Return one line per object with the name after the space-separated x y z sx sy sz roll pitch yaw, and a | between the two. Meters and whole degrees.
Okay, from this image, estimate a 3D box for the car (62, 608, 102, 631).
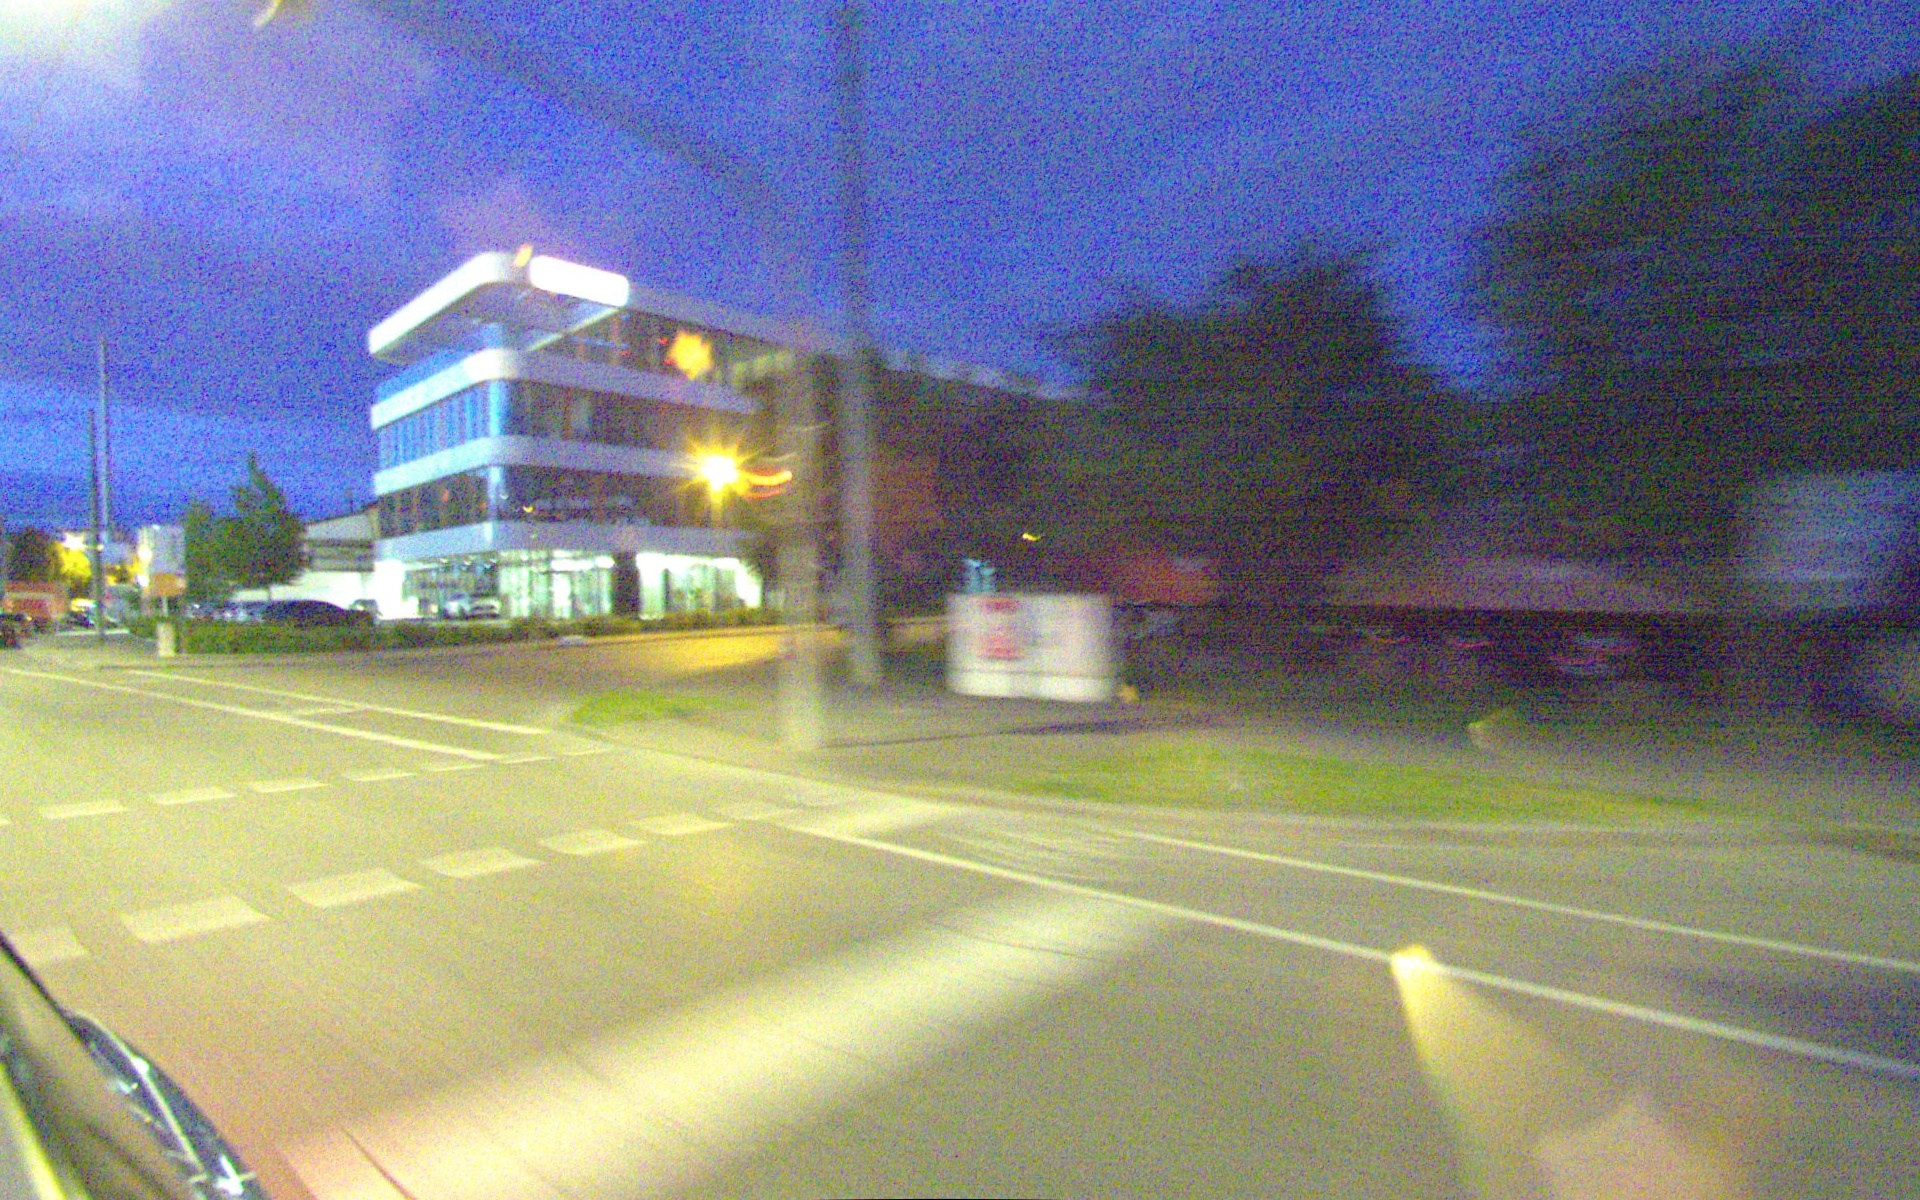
-106.196 2.366 122.492 1.966 2.544 5.929 -5 2 -25 | car

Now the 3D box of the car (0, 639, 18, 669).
-47.483 2.652 49.571 4.363 1.381 1.794 -1 1 45 | car

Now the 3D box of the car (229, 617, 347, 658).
-32.125 1.748 48.464 1.963 1.693 4.355 -1 1 44 | car

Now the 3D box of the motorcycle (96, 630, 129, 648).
-59.727 2.754 71.362 0.528 1.109 1.680 -1 4 23 | motorcycle

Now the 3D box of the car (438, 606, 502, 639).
-27.038 1.248 55.797 1.970 1.654 4.206 -3 1 -44 | car

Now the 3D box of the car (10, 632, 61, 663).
-53.606 2.712 58.758 1.843 1.605 4.503 -2 0 -39 | car

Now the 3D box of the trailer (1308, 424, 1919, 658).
15.961 -1.171 26.181 3.015 4.389 15.051 -3 1 -28 | trailer

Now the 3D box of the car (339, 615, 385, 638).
-42.575 1.891 71.957 1.879 1.468 4.469 -4 2 -43 | car

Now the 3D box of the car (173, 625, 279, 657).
-38.357 2.129 52.944 4.217 1.404 1.829 -2 1 -45 | car

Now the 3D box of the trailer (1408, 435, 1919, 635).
19.787 -1.477 27.299 3.016 4.389 15.048 -3 1 -30 | trailer

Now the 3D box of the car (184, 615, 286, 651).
-42.480 1.908 59.348 4.554 1.829 1.964 -2 1 -45 | car

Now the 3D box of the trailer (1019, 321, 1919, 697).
6.805 -0.991 17.829 3.017 3.961 15.044 -3 1 -33 | trailer

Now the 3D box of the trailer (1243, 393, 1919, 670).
13.105 -1.148 23.368 3.015 4.389 15.051 -3 1 -28 | trailer

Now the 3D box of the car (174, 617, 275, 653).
-41.368 1.948 56.993 4.353 1.829 1.964 -1 0 -45 | car

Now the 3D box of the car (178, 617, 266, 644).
-47.513 1.956 65.230 4.354 1.493 1.893 -2 1 -45 | car

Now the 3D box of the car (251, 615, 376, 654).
-28.576 1.466 44.817 4.394 1.463 2.064 -2 1 -42 | car

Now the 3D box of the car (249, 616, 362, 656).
-30.286 1.637 46.919 4.084 1.591 1.843 -2 1 -45 | car

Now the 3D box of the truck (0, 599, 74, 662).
-65.792 2.056 72.253 2.735 4.151 9.365 -1 0 -35 | truck

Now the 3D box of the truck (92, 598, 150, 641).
-83.394 1.877 100.767 2.708 4.064 9.590 -2 1 -30 | truck

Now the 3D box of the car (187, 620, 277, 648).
-45.733 2.113 63.666 4.354 1.463 1.829 -2 1 -45 | car

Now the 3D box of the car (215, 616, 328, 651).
-34.118 1.644 50.250 4.354 1.490 1.852 -2 1 -45 | car

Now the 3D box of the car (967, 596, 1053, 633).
2.289 0.628 45.648 1.889 1.563 3.947 -1 0 39 | car

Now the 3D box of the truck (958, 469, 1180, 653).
2.521 -0.902 24.454 3.017 3.961 4.515 -3 1 -33 | truck

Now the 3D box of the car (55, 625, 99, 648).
-73.928 3.063 84.826 1.917 1.730 5.213 -1 0 -32 | car
